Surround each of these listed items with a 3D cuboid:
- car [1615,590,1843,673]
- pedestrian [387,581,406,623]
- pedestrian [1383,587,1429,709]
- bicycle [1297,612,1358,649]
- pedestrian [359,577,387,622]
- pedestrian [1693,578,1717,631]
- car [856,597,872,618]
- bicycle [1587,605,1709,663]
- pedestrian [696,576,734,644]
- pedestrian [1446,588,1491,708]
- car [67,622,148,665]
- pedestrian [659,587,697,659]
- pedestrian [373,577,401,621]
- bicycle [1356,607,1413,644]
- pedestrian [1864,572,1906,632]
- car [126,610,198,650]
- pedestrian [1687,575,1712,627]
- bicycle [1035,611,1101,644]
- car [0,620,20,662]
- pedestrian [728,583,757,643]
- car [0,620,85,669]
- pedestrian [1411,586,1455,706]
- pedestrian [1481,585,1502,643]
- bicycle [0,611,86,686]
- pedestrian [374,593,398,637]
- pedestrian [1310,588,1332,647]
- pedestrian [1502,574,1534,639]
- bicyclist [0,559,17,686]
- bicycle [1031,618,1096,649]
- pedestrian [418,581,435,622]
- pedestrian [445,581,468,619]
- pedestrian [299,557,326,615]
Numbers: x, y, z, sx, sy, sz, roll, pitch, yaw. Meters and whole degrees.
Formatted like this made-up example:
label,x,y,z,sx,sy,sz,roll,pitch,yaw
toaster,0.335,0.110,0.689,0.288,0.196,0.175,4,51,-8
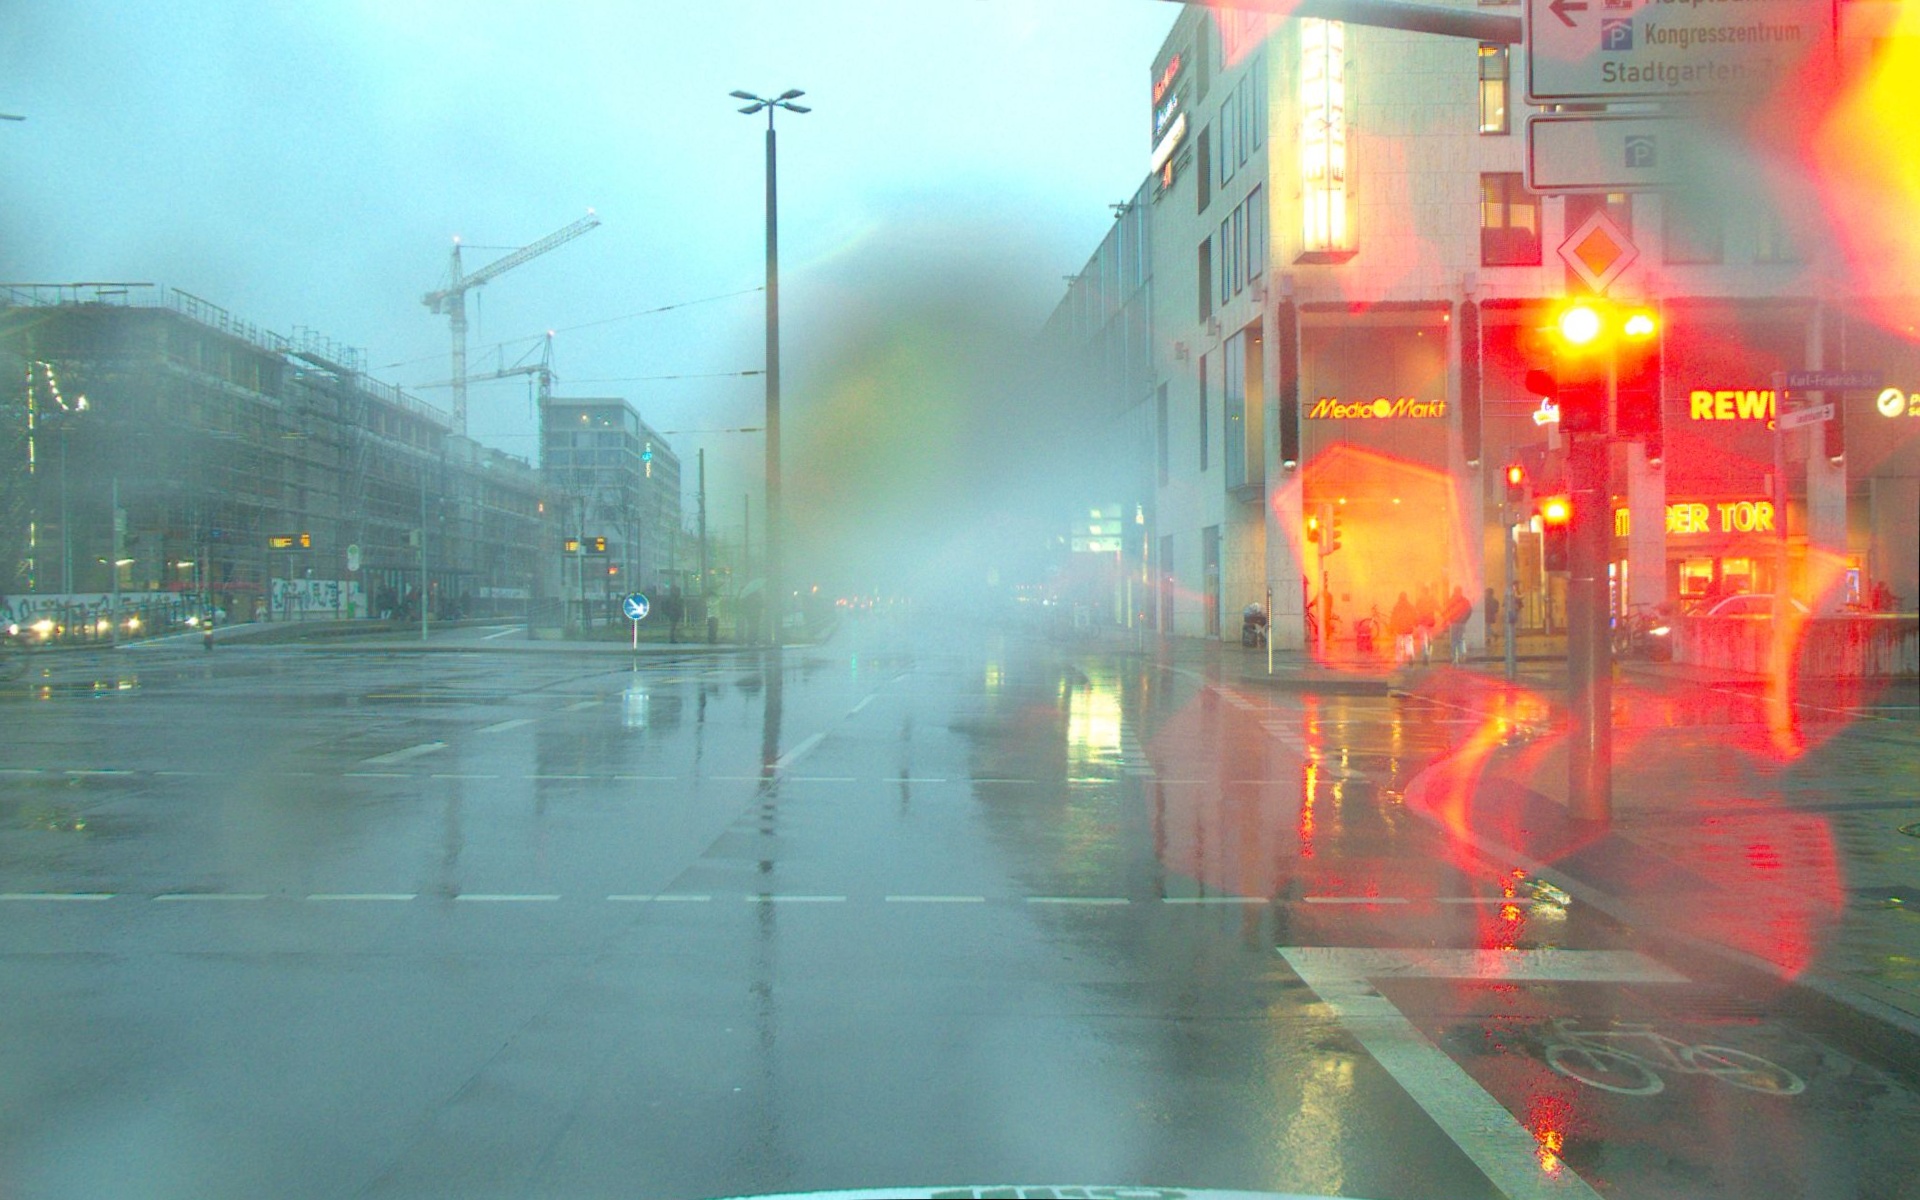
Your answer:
label,x,y,z,sx,sy,sz,roll,pitch,yaw
car,16.256,0.659,35.120,3.905,1.646,2.000,1,0,0
pedestrian,-26.129,0.080,76.699,0.684,1.913,0.553,1,-1,-2
pedestrian,9.217,0.979,34.217,0.700,2.484,0.758,1,-1,-1
bicycle,11.275,0.931,50.772,1.735,1.088,0.523,1,-1,-10
pedestrian,-27.129,-0.035,76.478,0.923,2.049,1.093,1,-1,-3
pedestrian,24.105,0.148,53.518,0.603,1.714,0.366,-1,0,-5
car,-9.467,0.704,163.185,1.546,2.049,3.169,-1,0,-3
bicycle,17.195,0.840,41.344,2.659,1.383,0.957,-1,-1,-4
pedestrian,-6.860,0.280,46.316,0.813,1.863,0.777,1,-1,-31
pedestrian,10.707,1.007,34.843,0.679,2.491,0.791,1,-1,-1
car,-38.200,1.921,74.192,1.956,1.822,3.993,1,0,-8
pedestrian,-8.066,0.654,47.315,0.771,2.049,0.724,0,-1,41
pedestrian,-27.145,-0.027,78.371,0.923,2.049,1.093,1,-1,-3
bicycle,13.072,0.780,50.986,1.614,1.088,0.524,1,-1,-5
pedestrian,26.864,0.055,48.034,0.875,1.714,0.528,-1,-1,-1
car,-38.428,1.433,79.753,1.956,1.822,3.993,1,0,-8
pedestrian,25.179,0.032,56.321,0.721,1.748,0.738,-1,-1,27
bicycle,4.006,1.011,61.656,2.393,1.174,0.674,-1,-1,-2
car,-36.414,1.524,60.524,2.038,1.557,4.604,-1,0,-10
pedestrian,-6.295,0.375,47.864,0.601,1.715,0.575,0,-1,41
car,-37.240,1.793,67.029,1.830,1.860,3.993,1,0,-8
pedestrian,9.962,0.963,34.854,0.675,2.484,0.758,1,-1,-1
pedestrian,15.476,0.411,48.157,0.476,1.692,0.457,-1,-1,30
bicycle,-14.797,0.720,24.951,2.825,1.118,0.738,1,-1,-29
pedestrian,-25.681,0.669,74.037,0.750,1.931,0.762,1,-2,-1
pedestrian,10.945,0.524,50.142,0.587,1.775,0.525,1,-1,7
pedestrian,17.882,0.214,53.034,0.828,2.049,0.698,-1,0,8
bicyclist,-14.890,0.324,24.894,1.144,1.904,0.738,1,-1,-29
bicycle,3.921,1.276,62.493,2.376,1.118,0.711,-1,-1,-3
pedestrian,-25.934,0.075,80.395,0.559,2.002,0.664,2,-1,-7
pedestrian,-27.581,0.018,90.655,0.923,2.049,1.093,1,-1,-3
pedestrian,-26.730,-0.583,68.289,0.750,2.364,0.762,1,-2,-1
